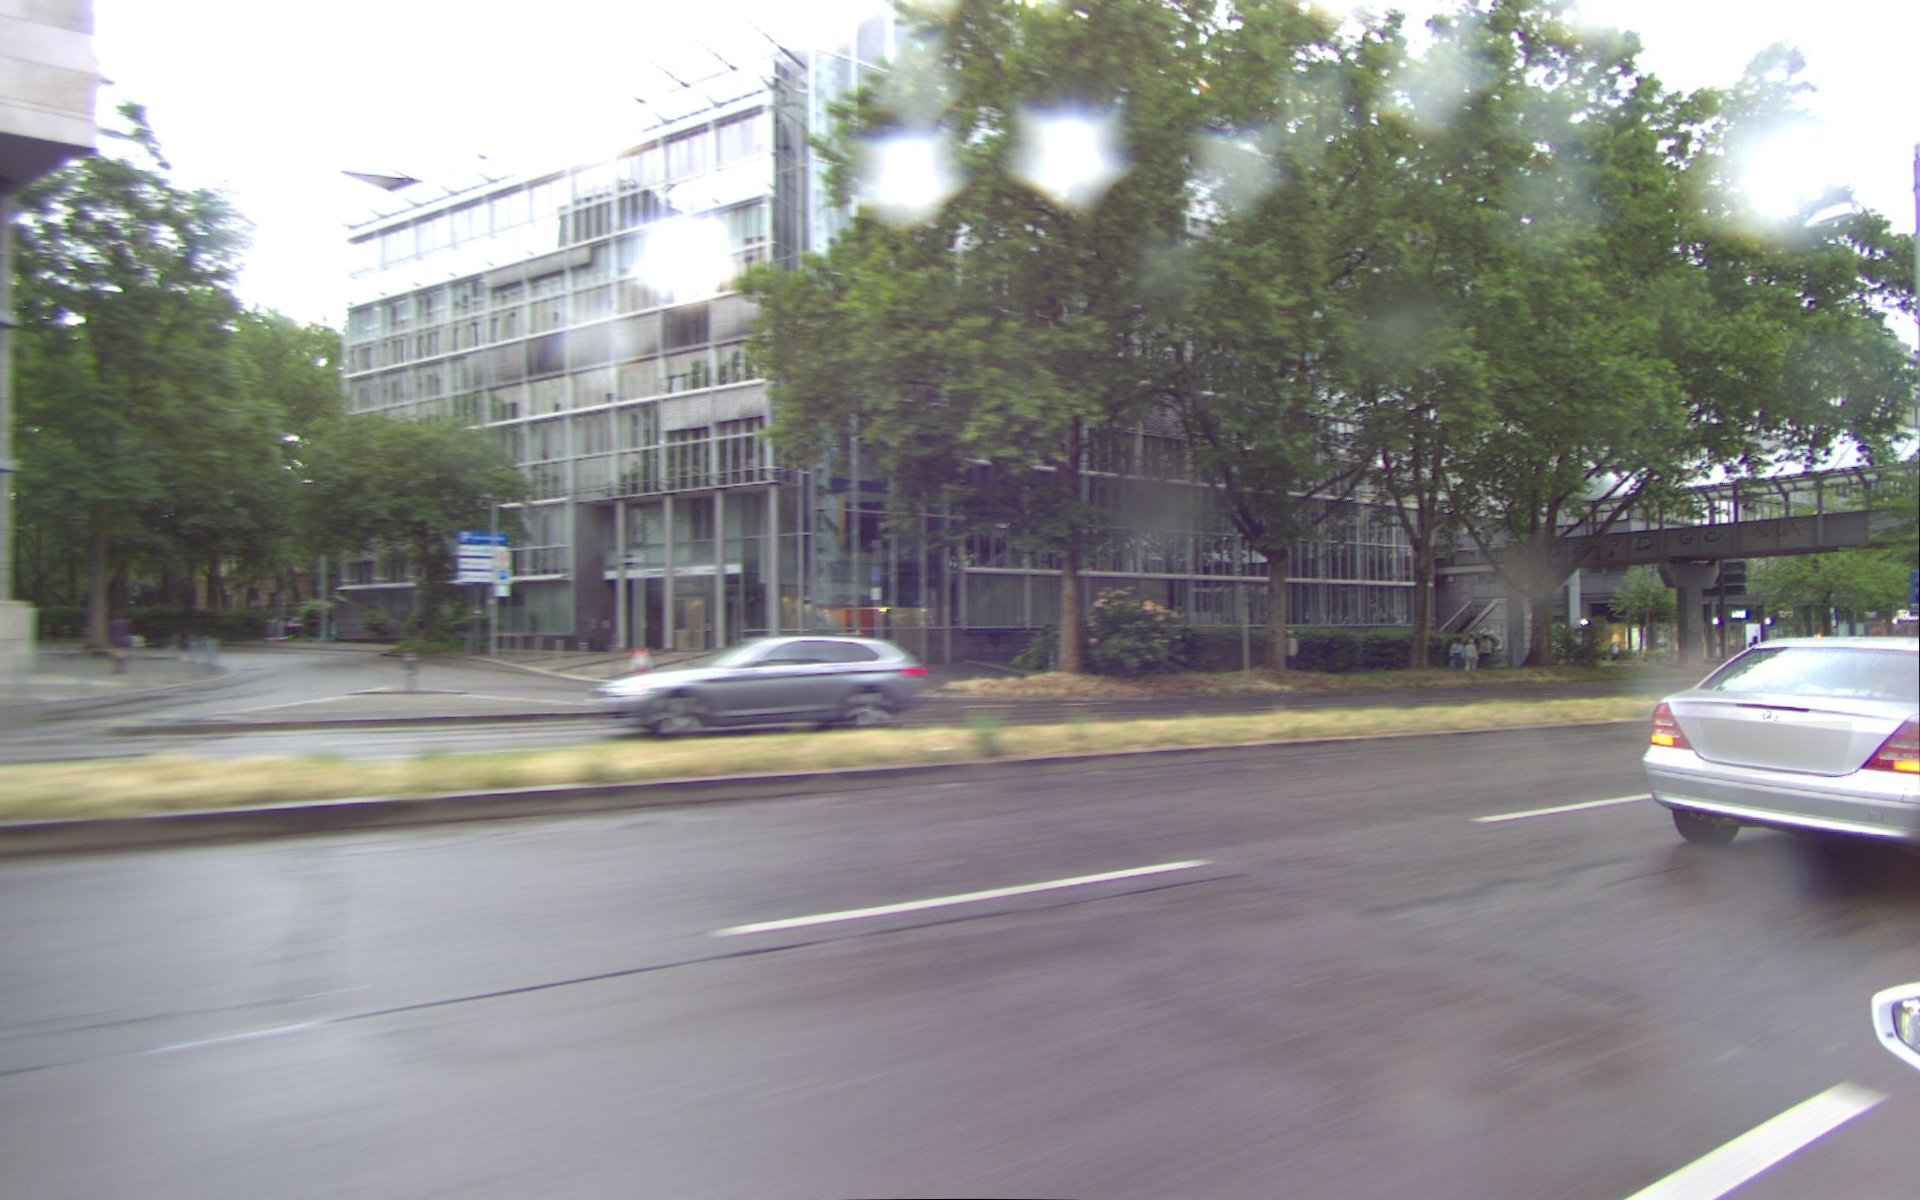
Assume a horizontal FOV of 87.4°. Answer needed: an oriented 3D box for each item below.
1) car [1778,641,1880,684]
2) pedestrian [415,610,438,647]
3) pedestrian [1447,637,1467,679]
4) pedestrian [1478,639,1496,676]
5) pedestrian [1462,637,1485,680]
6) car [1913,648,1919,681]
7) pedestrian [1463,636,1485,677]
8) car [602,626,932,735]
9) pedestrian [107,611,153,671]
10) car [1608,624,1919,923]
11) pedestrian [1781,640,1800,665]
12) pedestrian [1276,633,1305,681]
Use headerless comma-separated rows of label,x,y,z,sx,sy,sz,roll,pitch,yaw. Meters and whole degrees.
car,31.458,2.275,36.352,4.036,1.483,1.653,2,-5,-32
pedestrian,-24.157,1.303,45.479,0.647,1.652,0.740,-1,-1,38
pedestrian,21.593,2.517,43.683,0.505,1.831,0.603,1,-1,-30
pedestrian,24.168,2.631,46.038,0.505,1.708,0.557,1,-1,-30
pedestrian,22.080,2.502,43.182,0.751,1.831,0.593,1,-1,-30
car,53.948,3.475,54.485,5.129,1.791,1.990,2,-5,-33
pedestrian,23.827,2.610,46.560,0.610,1.831,0.719,1,-1,-30
car,-2.894,1.203,15.496,4.704,1.457,1.683,3,-3,-30
pedestrian,-22.298,1.094,26.992,0.658,1.591,0.818,-1,-1,38
car,6.422,0.988,6.794,4.310,1.498,1.664,3,-2,-30
pedestrian,58.250,3.672,70.463,1.045,1.738,0.739,1,-2,-31
pedestrian,12.780,2.184,38.897,0.793,1.831,0.731,1,-1,-30
